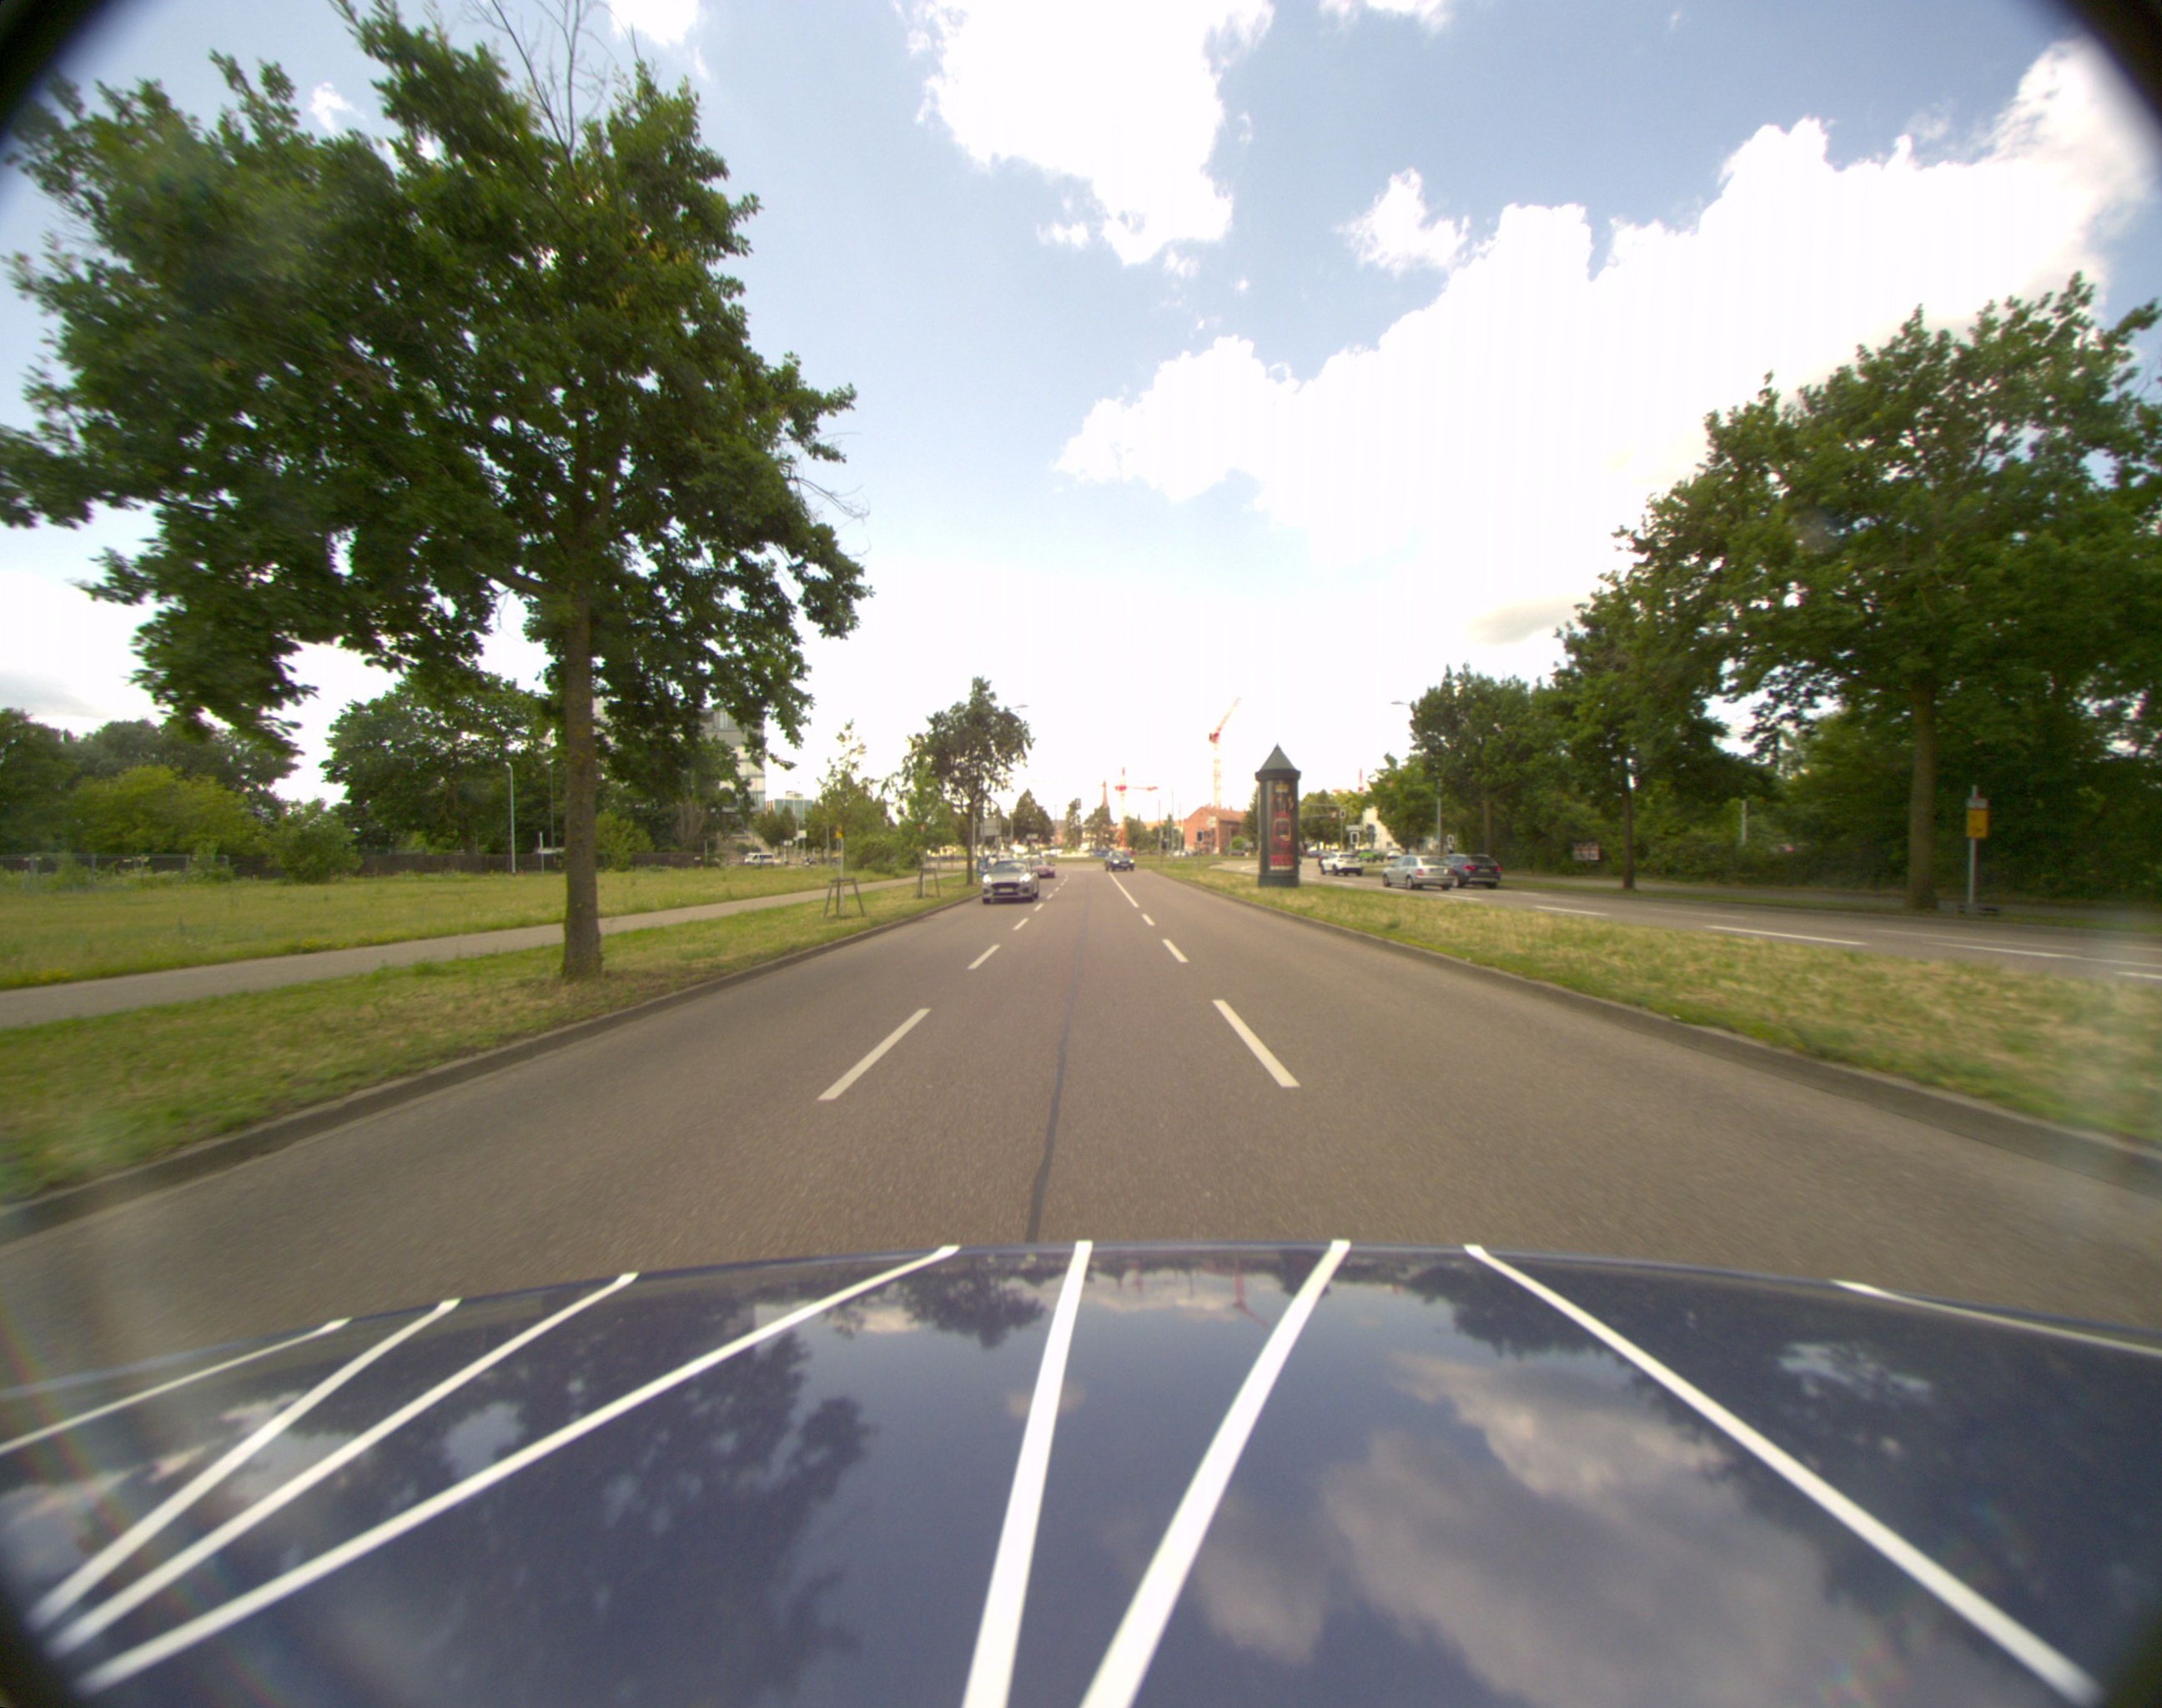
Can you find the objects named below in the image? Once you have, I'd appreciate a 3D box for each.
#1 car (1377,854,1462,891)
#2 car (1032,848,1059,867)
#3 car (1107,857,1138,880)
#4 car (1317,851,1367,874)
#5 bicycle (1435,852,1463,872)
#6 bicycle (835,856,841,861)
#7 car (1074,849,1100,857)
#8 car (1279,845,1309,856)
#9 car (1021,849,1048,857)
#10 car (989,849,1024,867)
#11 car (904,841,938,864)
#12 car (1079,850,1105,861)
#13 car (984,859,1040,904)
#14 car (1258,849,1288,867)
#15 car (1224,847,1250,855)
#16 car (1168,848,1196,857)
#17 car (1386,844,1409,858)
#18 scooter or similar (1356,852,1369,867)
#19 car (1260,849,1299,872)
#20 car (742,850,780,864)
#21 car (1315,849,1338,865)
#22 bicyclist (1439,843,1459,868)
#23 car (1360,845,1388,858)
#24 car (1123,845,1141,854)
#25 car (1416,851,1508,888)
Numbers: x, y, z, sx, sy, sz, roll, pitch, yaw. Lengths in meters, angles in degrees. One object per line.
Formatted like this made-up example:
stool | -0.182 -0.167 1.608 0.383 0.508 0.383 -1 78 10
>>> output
car | 14.098 0.715 31.923 1.767 1.431 4.309 0 0 1
car | -2.424 0.220 53.166 1.674 1.254 4.092 -1 0 0
car | 3.358 1.185 62.260 1.775 1.590 4.123 -2 2 -8
car | 17.526 0.538 51.180 1.914 1.532 4.368 0 0 1
bicycle | 23.688 0.517 48.939 0.762 1.212 2.016 -3 1 1
bicycle | -41.931 0.846 131.114 1.469 0.821 0.359 -1 1 44
car | 1.040 -0.125 139.374 4.484 1.315 1.956 -1 0 10
car | 32.307 -0.497 115.439 1.916 1.583 4.583 -1 1 -21
car | -7.982 -0.120 130.843 4.315 1.322 1.997 -1 0 -19
car | -6.999 0.365 70.868 1.677 1.590 4.118 -3 2 -30
car | -21.037 -0.154 99.567 2.289 2.836 7.238 1 0 -29
car | 1.960 0.229 134.112 4.403 1.788 1.757 -1 0 5
car | -2.465 0.962 28.124 1.674 1.462 4.091 -1 1 0
car | 17.344 0.307 68.663 1.842 1.471 4.754 1 1 5
car | 26.848 -0.519 130.986 3.968 1.332 1.806 1 0 31
car | 18.096 -0.242 135.881 4.496 1.513 2.128 -1 0 25
car | 39.878 -0.373 95.683 1.994 1.677 4.797 0 1 31
scooter or similar | 22.590 0.407 60.996 0.541 1.159 1.441 -1 1 5
car | 14.894 0.452 57.189 1.726 1.581 5.013 0 0 1
car | -50.391 0.457 119.736 2.143 2.135 5.161 -1 1 30
car | 23.971 0.250 74.104 1.839 1.435 4.425 1 1 20
bicyclist | 23.659 0.060 48.877 0.832 1.556 0.883 -3 1 1
car | 32.526 -0.311 84.310 1.616 1.340 4.179 2 1 39
car | 11.607 -1.054 174.400 2.090 1.841 5.175 -1 0 -21
car | 17.418 0.648 35.051 1.767 1.568 5.031 0 0 1
